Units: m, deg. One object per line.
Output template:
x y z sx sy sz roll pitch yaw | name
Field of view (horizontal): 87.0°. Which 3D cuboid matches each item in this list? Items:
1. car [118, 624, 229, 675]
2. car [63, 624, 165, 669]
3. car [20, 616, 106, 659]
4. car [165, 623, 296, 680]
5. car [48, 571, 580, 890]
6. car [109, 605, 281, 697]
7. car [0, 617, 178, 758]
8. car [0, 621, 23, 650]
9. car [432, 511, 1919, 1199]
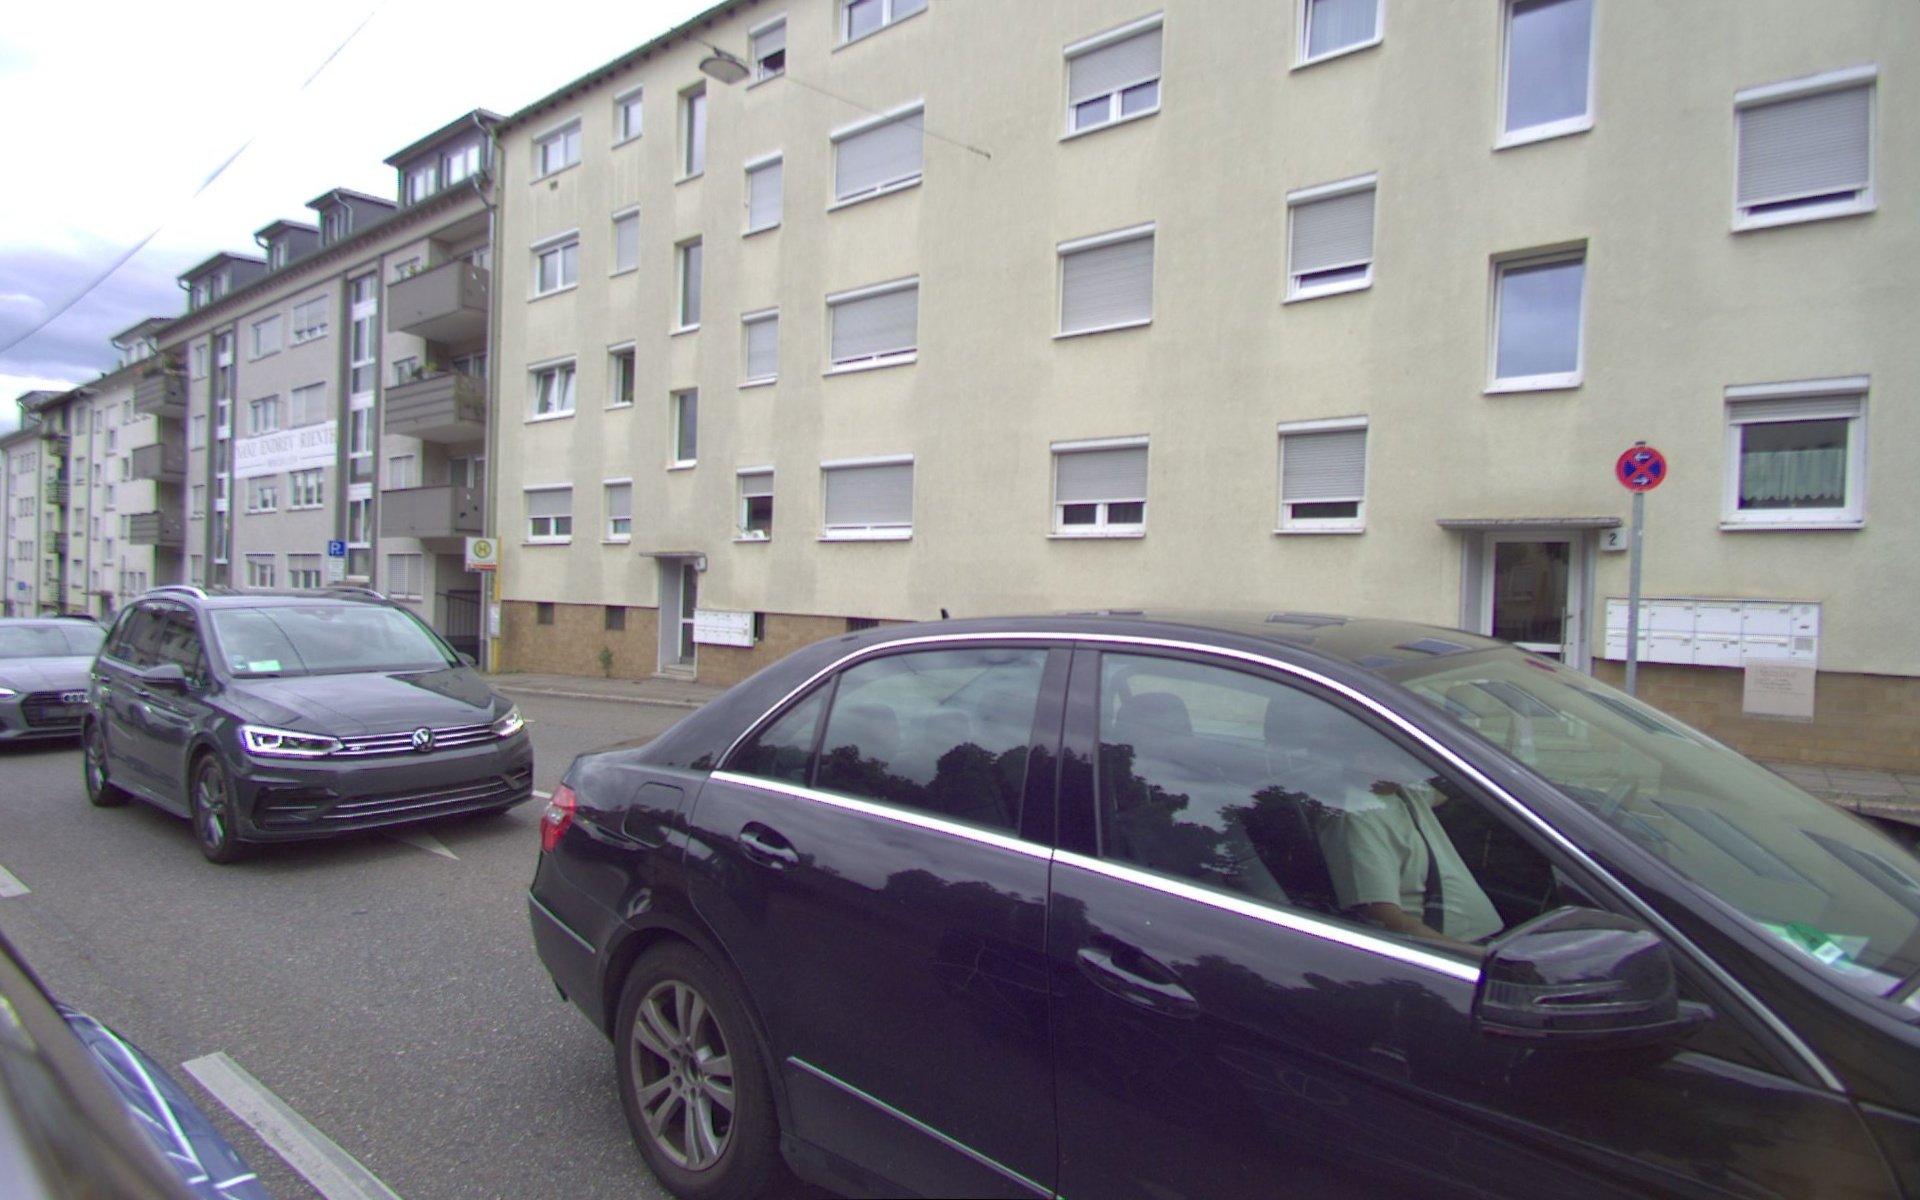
-23.678 1.466 30.454 3.533 1.386 1.650 0 -3 35 | car
-28.502 1.544 34.070 3.533 1.414 1.755 0 -3 35 | car
-35.458 1.456 39.983 3.533 1.613 1.755 0 -3 35 | car
-19.785 1.359 27.406 3.679 1.422 1.755 0 -3 35 | car
-4.806 0.668 7.266 4.473 1.623 1.840 0 0 38 | car
-14.018 0.885 18.507 3.453 1.529 1.583 0 -2 37 | car
-10.687 0.895 11.644 4.143 1.365 1.858 -1 -1 40 | car
-48.601 1.758 50.617 3.751 1.414 1.755 0 -3 35 | car
0.821 0.654 2.327 4.839 1.439 1.973 -1 -1 41 | car
